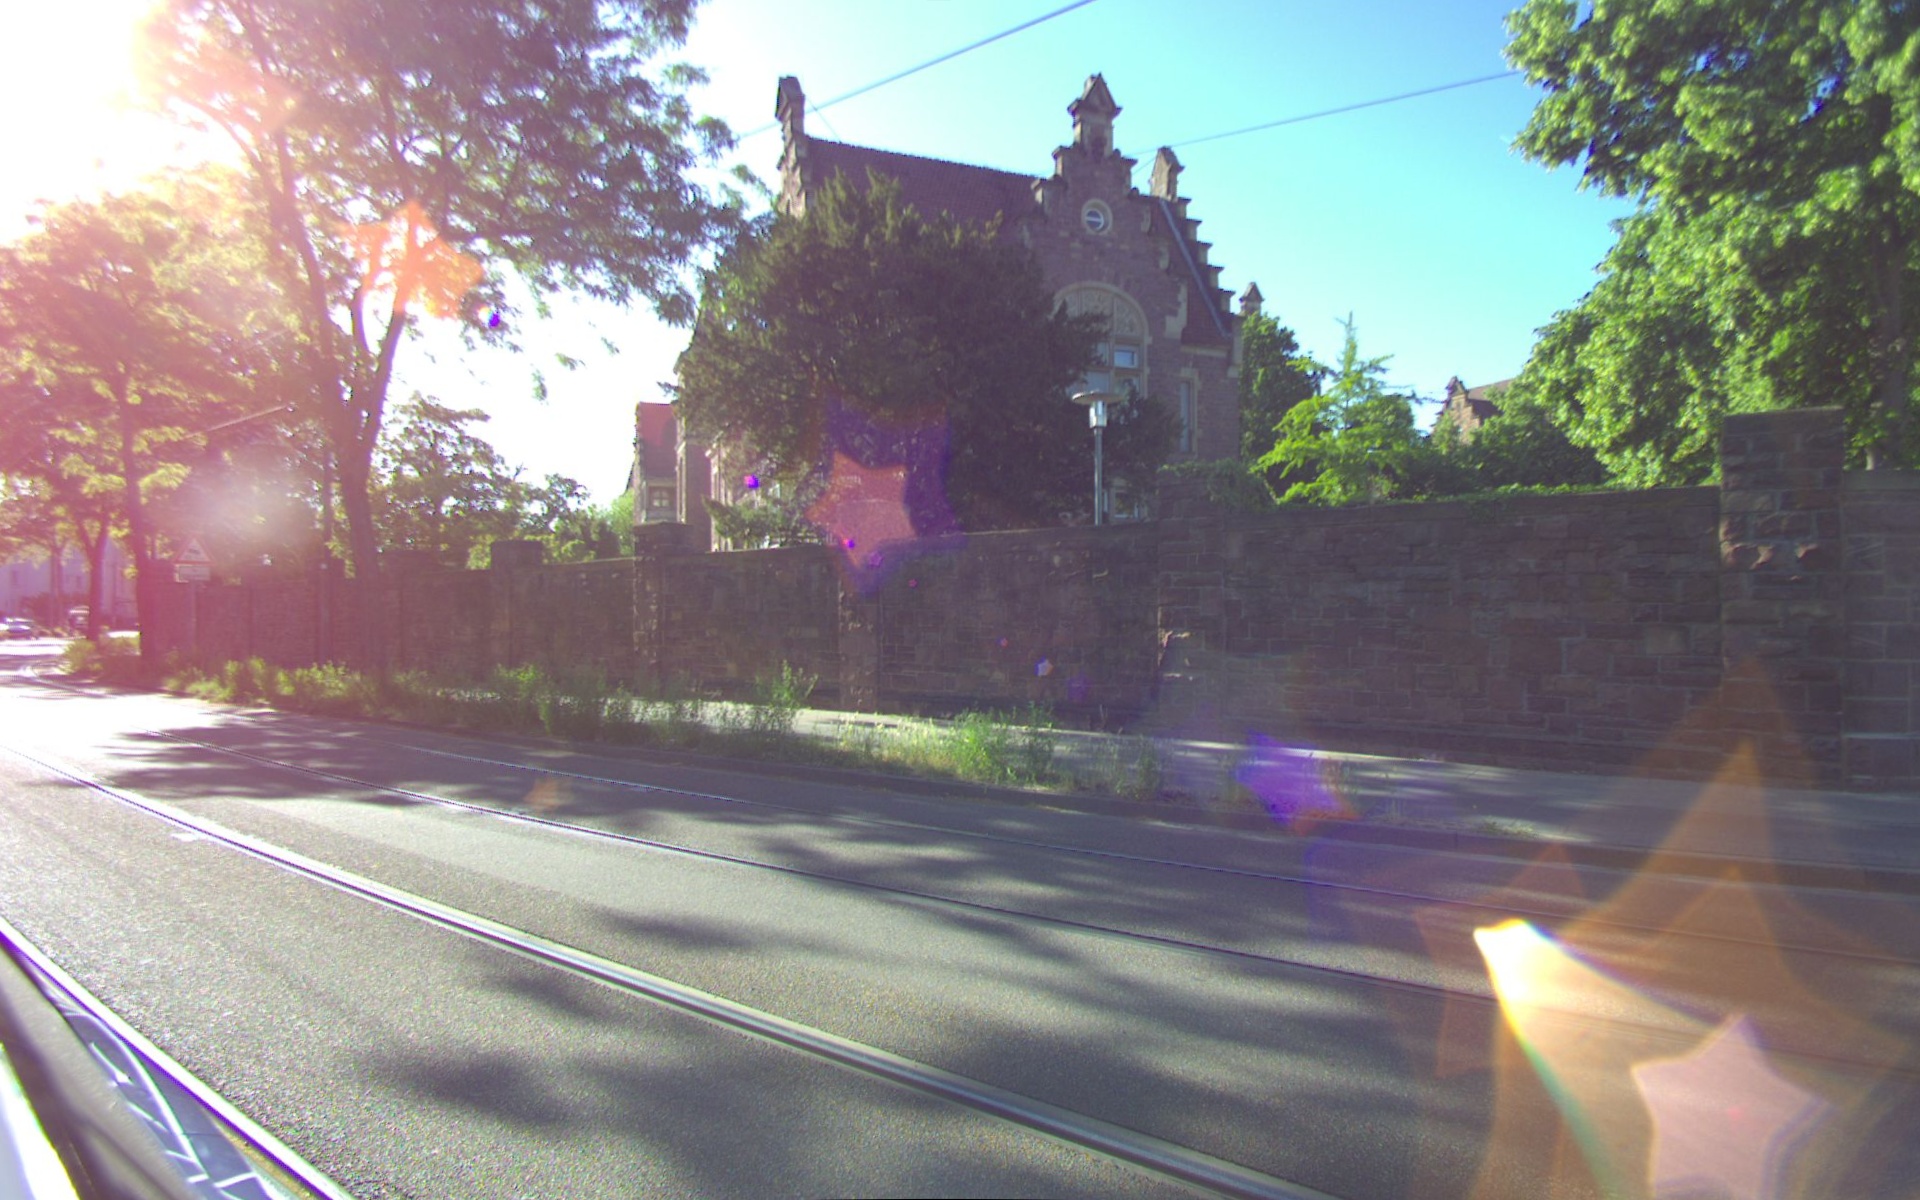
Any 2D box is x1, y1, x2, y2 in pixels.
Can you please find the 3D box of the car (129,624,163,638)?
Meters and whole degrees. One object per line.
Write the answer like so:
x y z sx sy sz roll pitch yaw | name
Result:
-93.877 3.516 116.755 1.713 1.507 4.544 0 -1 -22 | car

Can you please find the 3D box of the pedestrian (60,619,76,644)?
-68.581 2.385 77.806 0.866 1.879 1.022 0 -1 -37 | pedestrian

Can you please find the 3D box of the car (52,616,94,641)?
-77.227 2.510 88.169 1.966 2.111 4.729 1 -2 -32 | car

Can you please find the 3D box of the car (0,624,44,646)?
-69.279 2.540 74.324 1.973 1.476 5.448 4 -3 -32 | car

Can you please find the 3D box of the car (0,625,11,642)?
-91.388 3.149 94.123 2.009 1.501 4.401 3 1 41 | car
